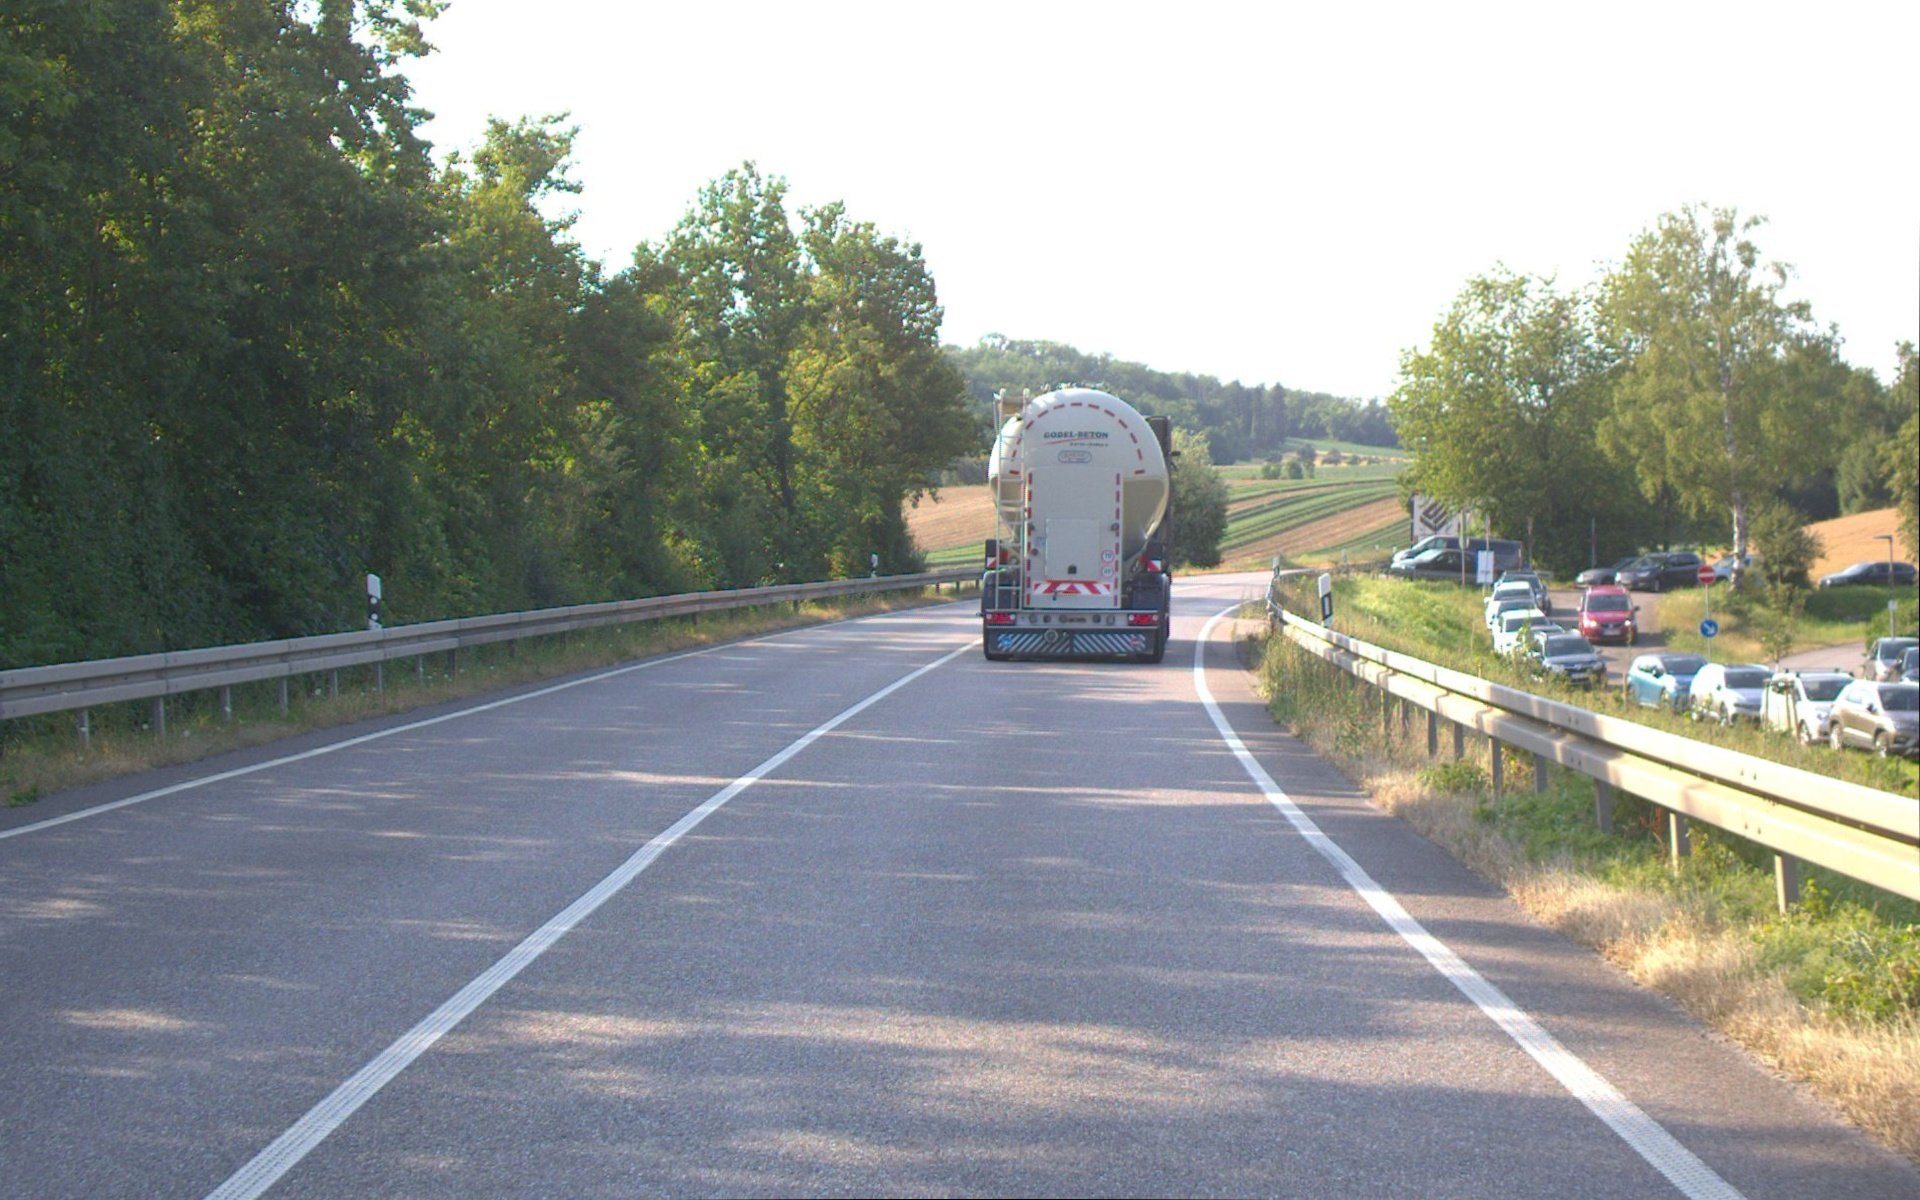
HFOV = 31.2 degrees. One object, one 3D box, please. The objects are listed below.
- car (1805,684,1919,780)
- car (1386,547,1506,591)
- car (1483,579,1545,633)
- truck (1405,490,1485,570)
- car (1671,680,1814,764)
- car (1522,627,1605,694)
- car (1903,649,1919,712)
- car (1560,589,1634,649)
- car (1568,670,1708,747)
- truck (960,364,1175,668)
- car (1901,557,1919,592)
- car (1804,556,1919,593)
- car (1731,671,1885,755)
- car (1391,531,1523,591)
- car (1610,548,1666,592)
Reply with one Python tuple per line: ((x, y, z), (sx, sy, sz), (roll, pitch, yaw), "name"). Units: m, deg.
((19.651, 2.739, 72.149), (1.891, 1.554, 4.784), (-4, 3, -10), "car")
((19.366, -1.238, 136.968), (4.309, 1.395, 1.721), (4, 2, -17), "car")
((19.816, 0.204, 122.796), (1.893, 1.554, 4.781), (-3, 3, 12), "car")
((26.471, -3.870, 187.111), (3.185, 4.213, 13.165), (0, 2, 13), "truck")
((18.803, 2.917, 82.834), (1.891, 1.554, 4.784), (-3, 3, -5), "car")
((17.629, 1.759, 100.637), (1.892, 1.554, 4.782), (-3, 3, 5), "car")
((25.747, 2.072, 90.470), (1.702, 1.394, 4.782), (-3, 1, 15), "car")
((21.616, 0.628, 116.803), (1.892, 1.681, 5.086), (-3, 3, 5), "car")
((17.482, 2.784, 88.856), (1.891, 1.554, 4.784), (-4, 3, -10), "car")
((1.541, -1.243, 53.616), (2.893, 4.128, 13.172), (1, 1, 1), "truck")
((43.715, -1.092, 150.465), (4.627, 1.502, 2.001), (1, 1, -25), "car")
((38.907, -1.097, 148.221), (4.627, 1.502, 2.001), (1, 1, -25), "car")
((19.149, 2.527, 77.837), (1.891, 1.554, 4.784), (0, 2, -5), "car")
((20.350, -1.599, 140.731), (5.142, 1.937, 1.974), (6, 3, 9), "car")
((27.312, -1.186, 138.565), (1.892, 1.669, 4.781), (1, 0, 8), "car")
